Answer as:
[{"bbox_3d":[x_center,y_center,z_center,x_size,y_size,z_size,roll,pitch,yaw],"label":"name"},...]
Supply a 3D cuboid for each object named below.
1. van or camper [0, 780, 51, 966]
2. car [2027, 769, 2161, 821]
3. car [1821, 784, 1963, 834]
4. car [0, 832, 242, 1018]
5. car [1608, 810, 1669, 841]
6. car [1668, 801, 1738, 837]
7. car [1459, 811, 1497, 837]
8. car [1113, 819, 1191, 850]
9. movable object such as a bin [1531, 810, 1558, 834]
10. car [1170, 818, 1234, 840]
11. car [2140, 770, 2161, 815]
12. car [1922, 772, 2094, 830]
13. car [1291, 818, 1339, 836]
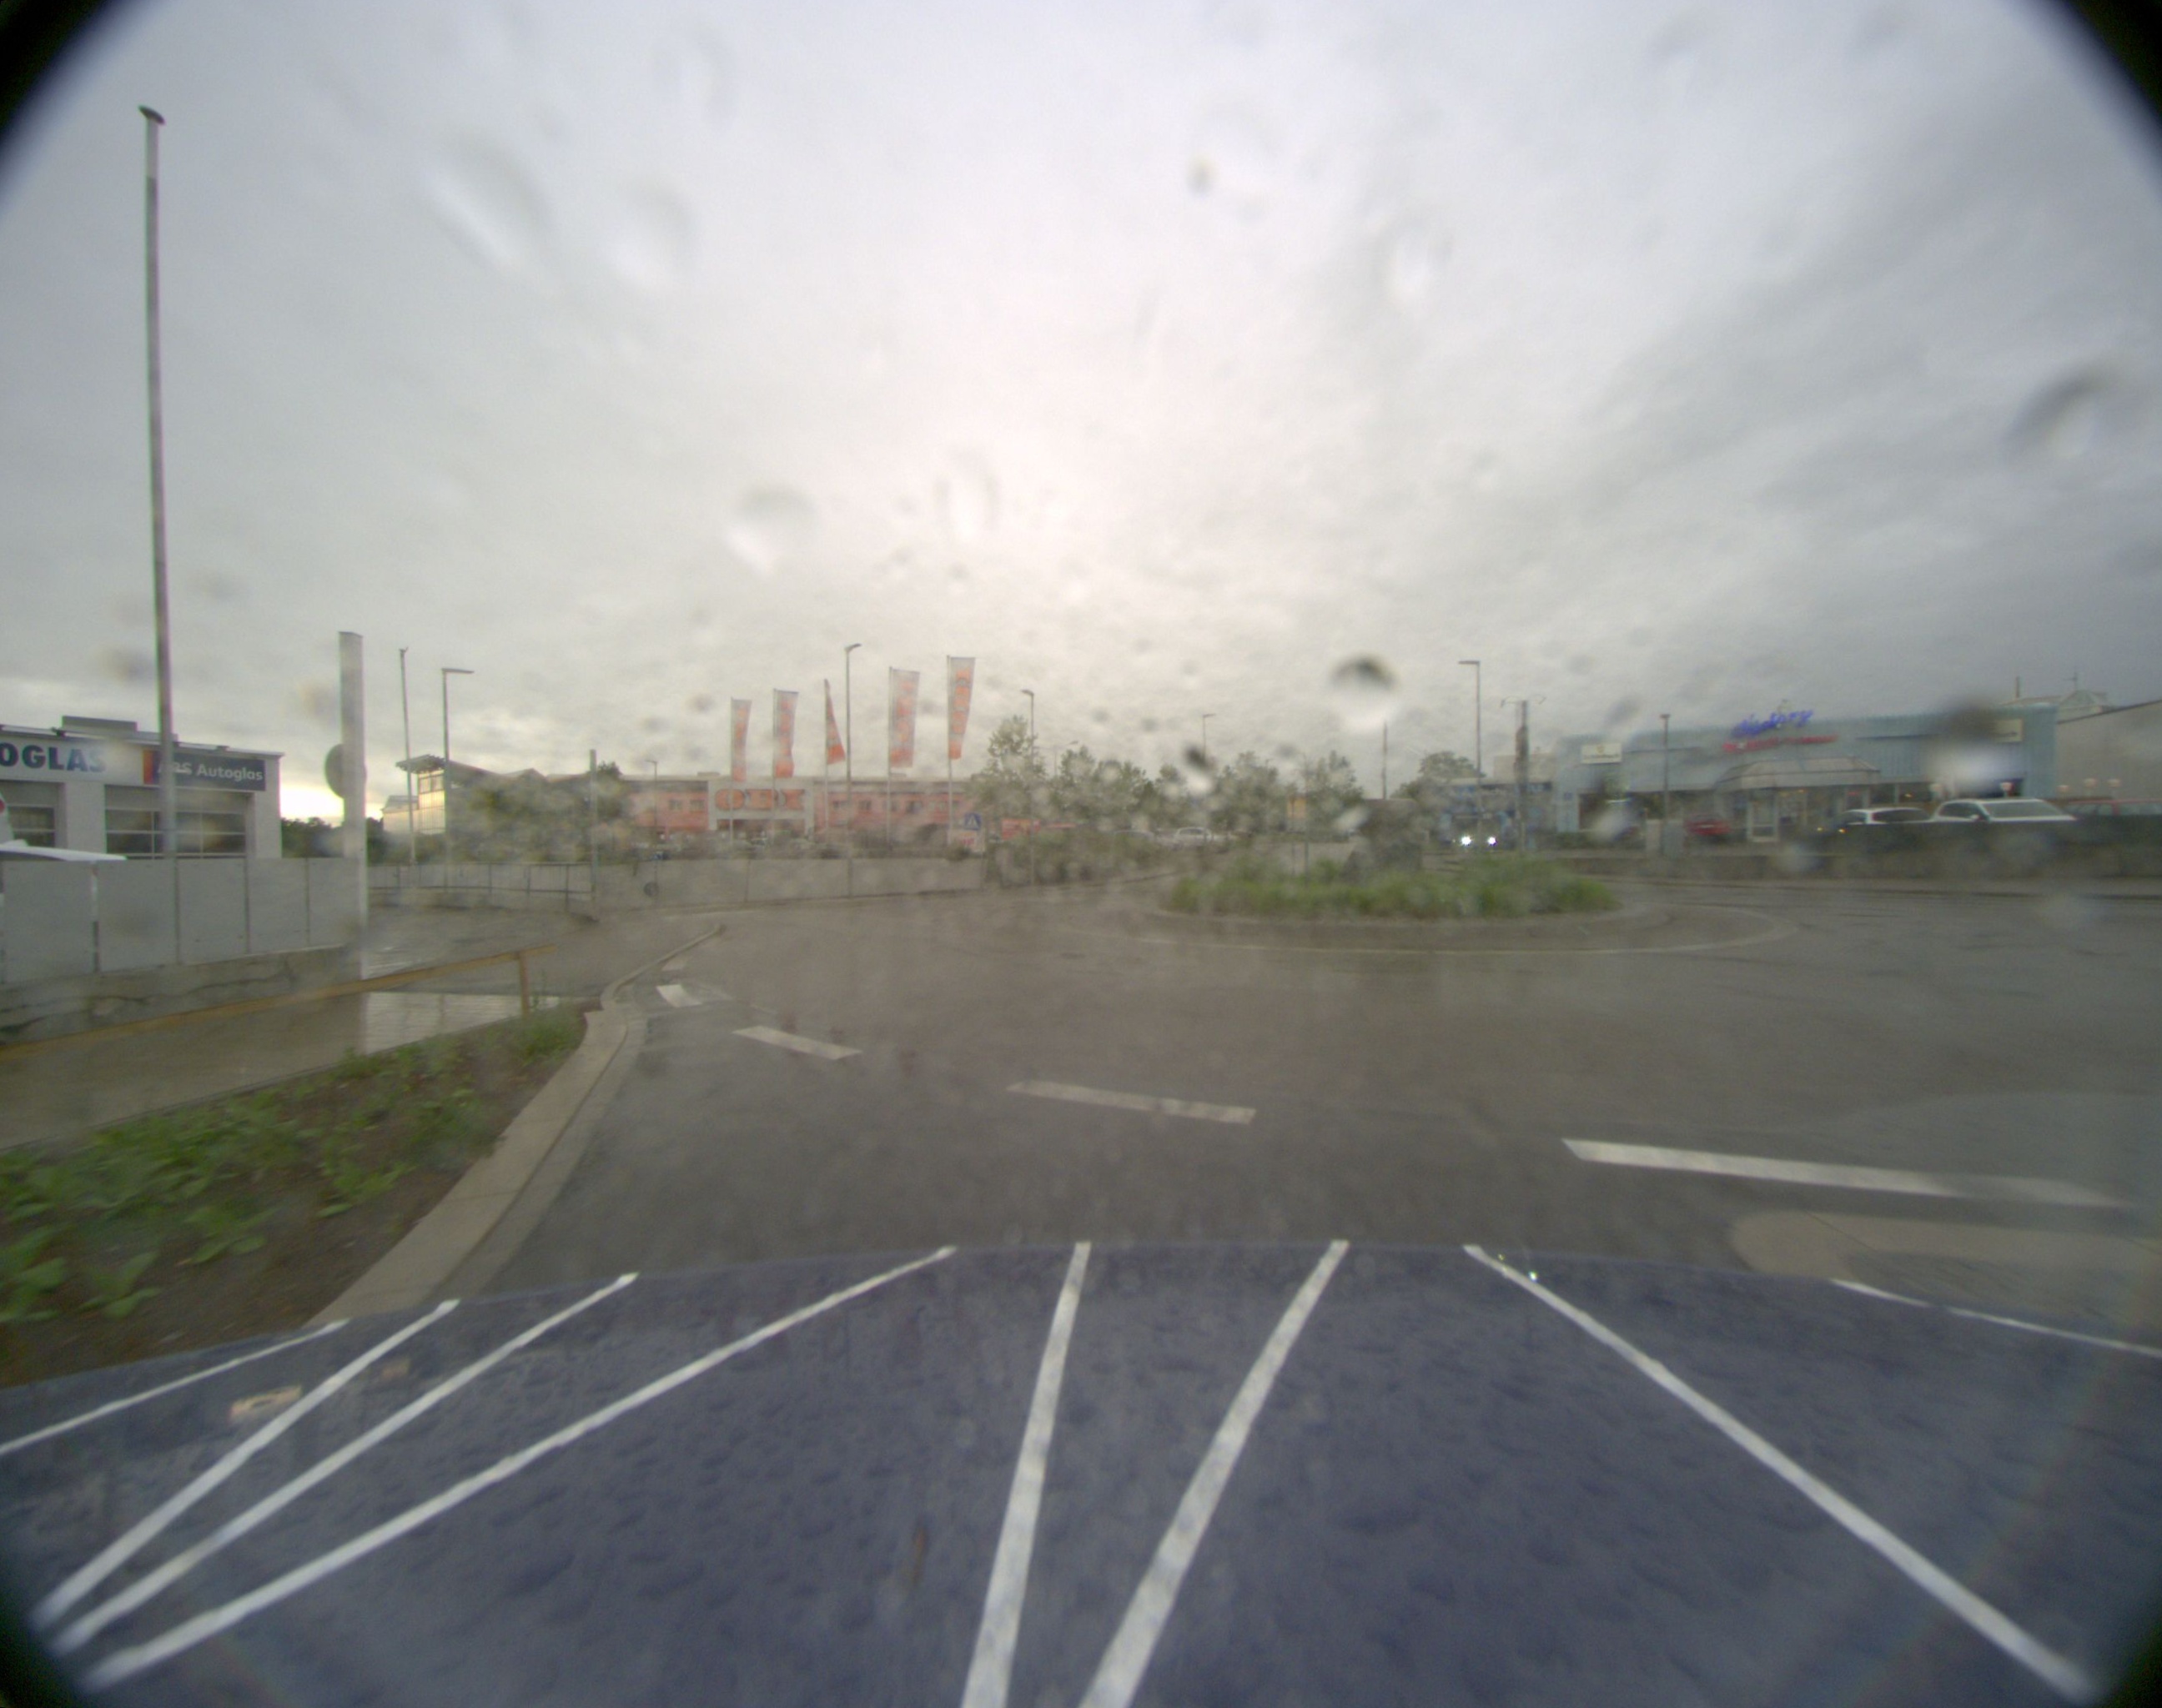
[{"bbox_3d":[-16.565,0.300,8.703,2.125,2.525,5.272,-1,1,24],"label":"van or camper"},{"bbox_3d":[29.751,-1.681,21.782,1.883,1.288,4.006,-4,0,29],"label":"car"},{"bbox_3d":[25.227,-1.372,23.834,1.883,1.288,4.006,-4,0,29],"label":"car"},{"bbox_3d":[-10.739,0.656,6.645,1.844,1.681,4.173,-1,0,11],"label":"car"},{"bbox_3d":[27.298,-1.389,37.308,1.883,1.288,4.006,-4,0,29],"label":"car"},{"bbox_3d":[29.722,-1.671,36.434,1.883,1.477,4.006,-4,0,29],"label":"car"},{"bbox_3d":[26.217,-1.957,50.104,1.916,1.521,4.007,-3,0,32],"label":"car"},{"bbox_3d":[4.222,-1.138,45.090,4.094,1.696,2.004,-1,1,33],"label":"car"},{"bbox_3d":[26.459,-1.820,43.419,1.212,1.288,1.481,-4,1,29],"label":"movable object such as a bin"},{"bbox_3d":[8.625,-1.742,54.178,3.989,1.434,2.003,-1,1,30],"label":"car"},{"bbox_3d":[31.725,-1.801,20.641,1.883,1.288,4.006,-4,0,29],"label":"car"},{"bbox_3d":[27.890,-1.533,23.066,1.790,1.543,4.006,-1,1,26],"label":"car"},{"bbox_3d":[22.463,-2.588,72.942,3.989,1.587,2.003,-1,1,30],"label":"car"}]
